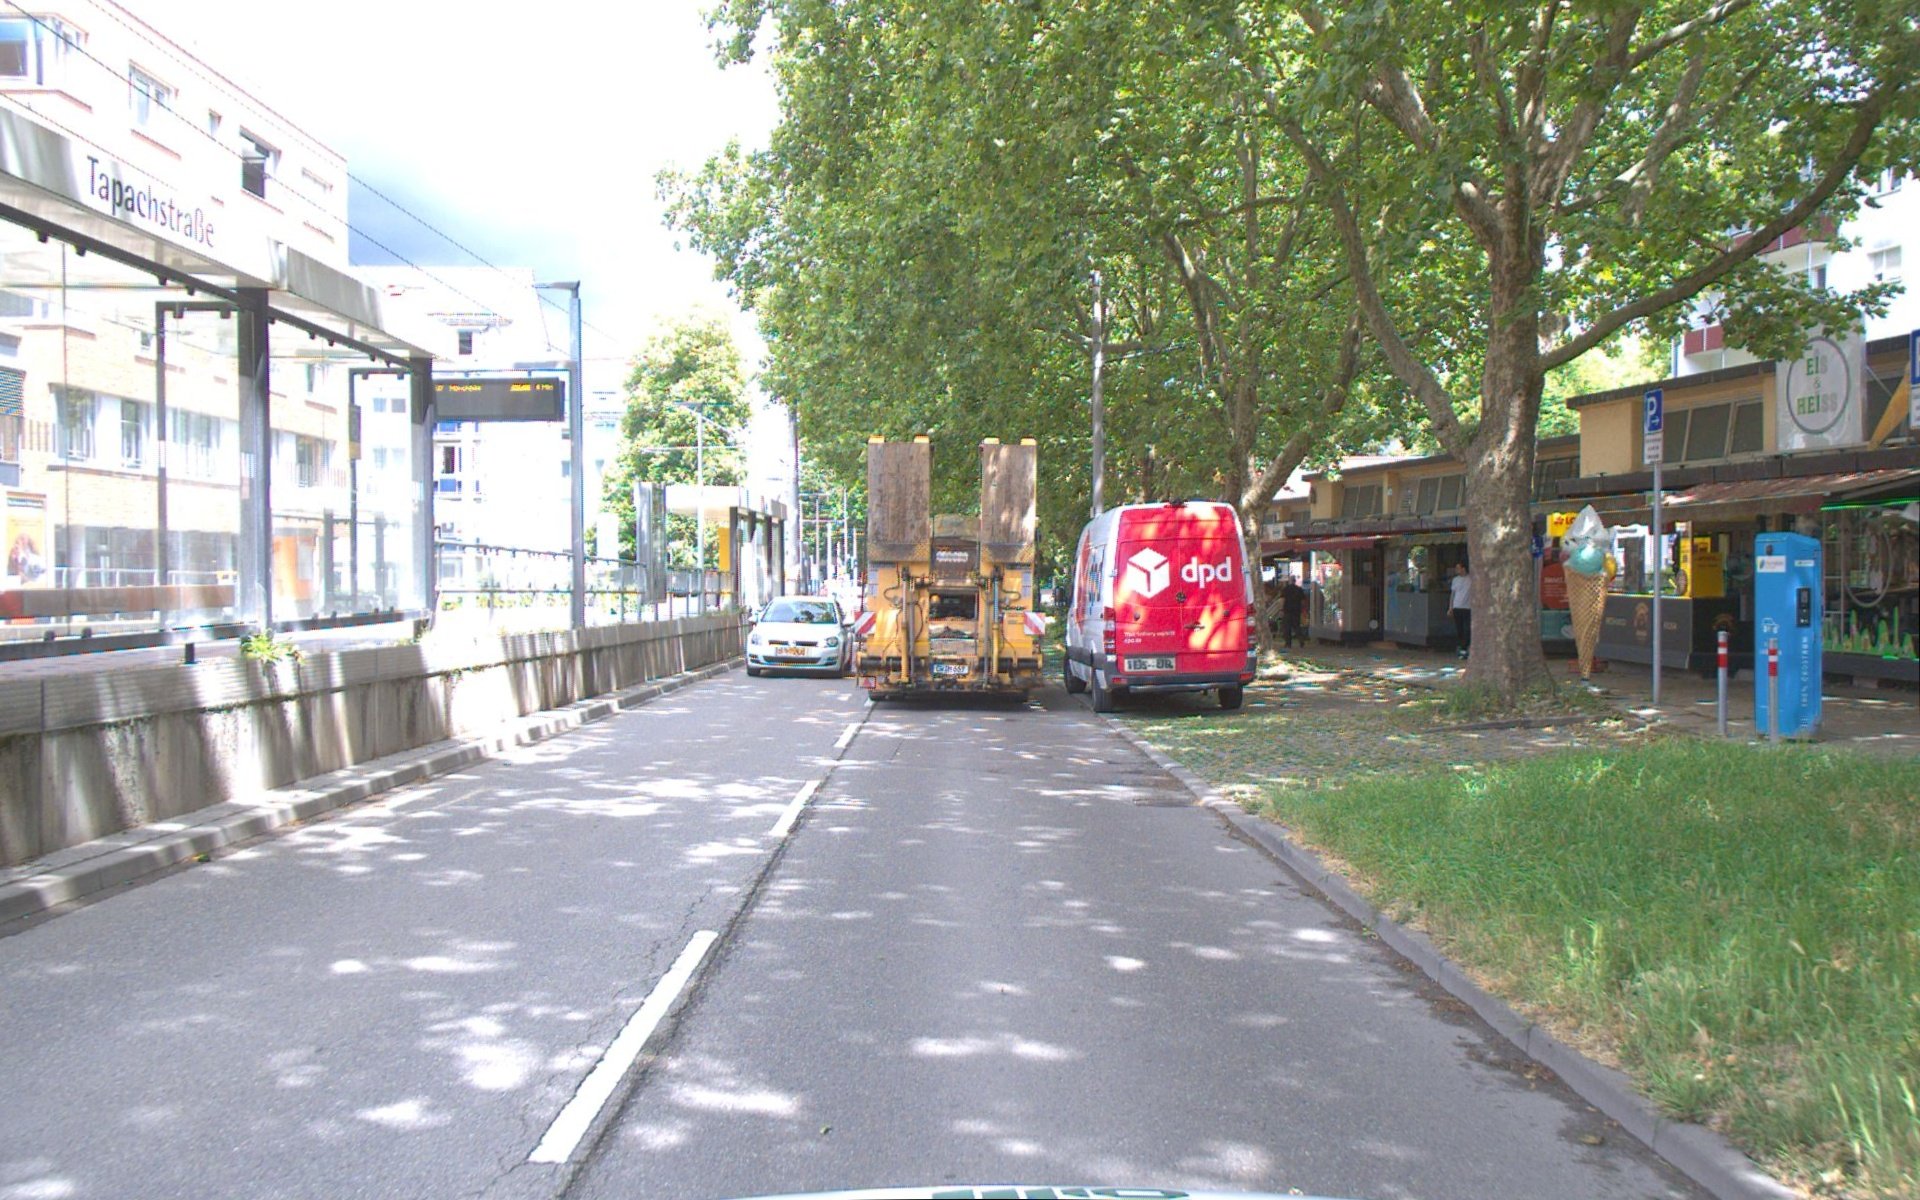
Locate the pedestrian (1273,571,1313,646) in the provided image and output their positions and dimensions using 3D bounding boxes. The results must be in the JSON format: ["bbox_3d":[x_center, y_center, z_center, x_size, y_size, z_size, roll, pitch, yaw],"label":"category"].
[{"bbox_3d":[7.983,0.197,39.658,0.744,1.755,0.658,-2,0,-5],"label":"pedestrian"}]

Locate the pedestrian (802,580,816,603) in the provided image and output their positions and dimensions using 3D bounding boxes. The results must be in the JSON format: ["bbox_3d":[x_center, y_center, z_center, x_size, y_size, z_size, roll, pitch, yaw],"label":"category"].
[{"bbox_3d":[-11.921,-0.687,130.342,0.866,1.791,0.838,1,0,15],"label":"pedestrian"}]

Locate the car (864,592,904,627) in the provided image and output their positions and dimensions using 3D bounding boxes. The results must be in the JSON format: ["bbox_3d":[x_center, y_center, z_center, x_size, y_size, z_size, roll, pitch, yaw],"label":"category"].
[{"bbox_3d":[-3.502,0.418,76.735,1.726,1.507,4.575,2,0,-1],"label":"car"}]

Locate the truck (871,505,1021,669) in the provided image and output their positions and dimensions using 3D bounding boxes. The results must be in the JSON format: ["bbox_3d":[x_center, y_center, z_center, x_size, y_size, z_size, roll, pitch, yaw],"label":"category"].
[{"bbox_3d":[-0.362,-0.270,36.601,2.929,3.190,7.885,1,0,-1],"label":"truck"}]

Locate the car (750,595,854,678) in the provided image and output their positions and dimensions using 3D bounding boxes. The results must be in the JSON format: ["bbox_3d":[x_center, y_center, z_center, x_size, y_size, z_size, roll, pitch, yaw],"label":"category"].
[{"bbox_3d":[-2.899,0.638,30.963,1.697,1.420,3.750,1,0,-2],"label":"car"}]

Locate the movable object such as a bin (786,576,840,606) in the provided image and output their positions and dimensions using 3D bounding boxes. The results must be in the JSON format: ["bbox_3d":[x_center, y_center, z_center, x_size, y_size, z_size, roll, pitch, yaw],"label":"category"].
[{"bbox_3d":[-13.289,-0.799,149.572,4.281,2.675,2.218,1,0,26],"label":"movable object such as a bin"}]

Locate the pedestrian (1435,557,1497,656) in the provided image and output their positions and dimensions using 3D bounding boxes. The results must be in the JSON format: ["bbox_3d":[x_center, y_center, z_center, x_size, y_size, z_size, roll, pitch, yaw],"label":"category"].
[{"bbox_3d":[9.529,0.132,31.172,0.910,1.832,0.602,-2,-1,44],"label":"pedestrian"}]

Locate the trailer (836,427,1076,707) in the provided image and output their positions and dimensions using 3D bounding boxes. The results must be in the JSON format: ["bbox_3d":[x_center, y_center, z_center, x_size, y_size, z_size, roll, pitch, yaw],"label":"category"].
[{"bbox_3d":[-0.163,-0.448,27.119,3.090,3.615,11.094,1,0,-1],"label":"trailer"}]

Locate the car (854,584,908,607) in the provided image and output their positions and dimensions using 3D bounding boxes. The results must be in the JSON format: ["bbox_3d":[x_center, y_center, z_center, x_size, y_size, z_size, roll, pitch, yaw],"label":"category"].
[{"bbox_3d":[-7.775,-0.407,162.680,5.004,2.138,1.969,1,1,-15],"label":"car"}]

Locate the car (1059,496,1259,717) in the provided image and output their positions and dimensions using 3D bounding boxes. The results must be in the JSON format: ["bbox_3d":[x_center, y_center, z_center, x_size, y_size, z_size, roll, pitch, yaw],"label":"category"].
[{"bbox_3d":[2.629,0.075,23.539,1.866,2.626,6.833,-2,0,-1],"label":"car"}]

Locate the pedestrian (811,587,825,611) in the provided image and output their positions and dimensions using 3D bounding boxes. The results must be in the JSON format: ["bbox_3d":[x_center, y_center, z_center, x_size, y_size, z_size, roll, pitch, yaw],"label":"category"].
[{"bbox_3d":[-11.275,-0.104,131.186,0.876,1.900,0.829,1,0,-29],"label":"pedestrian"}]
